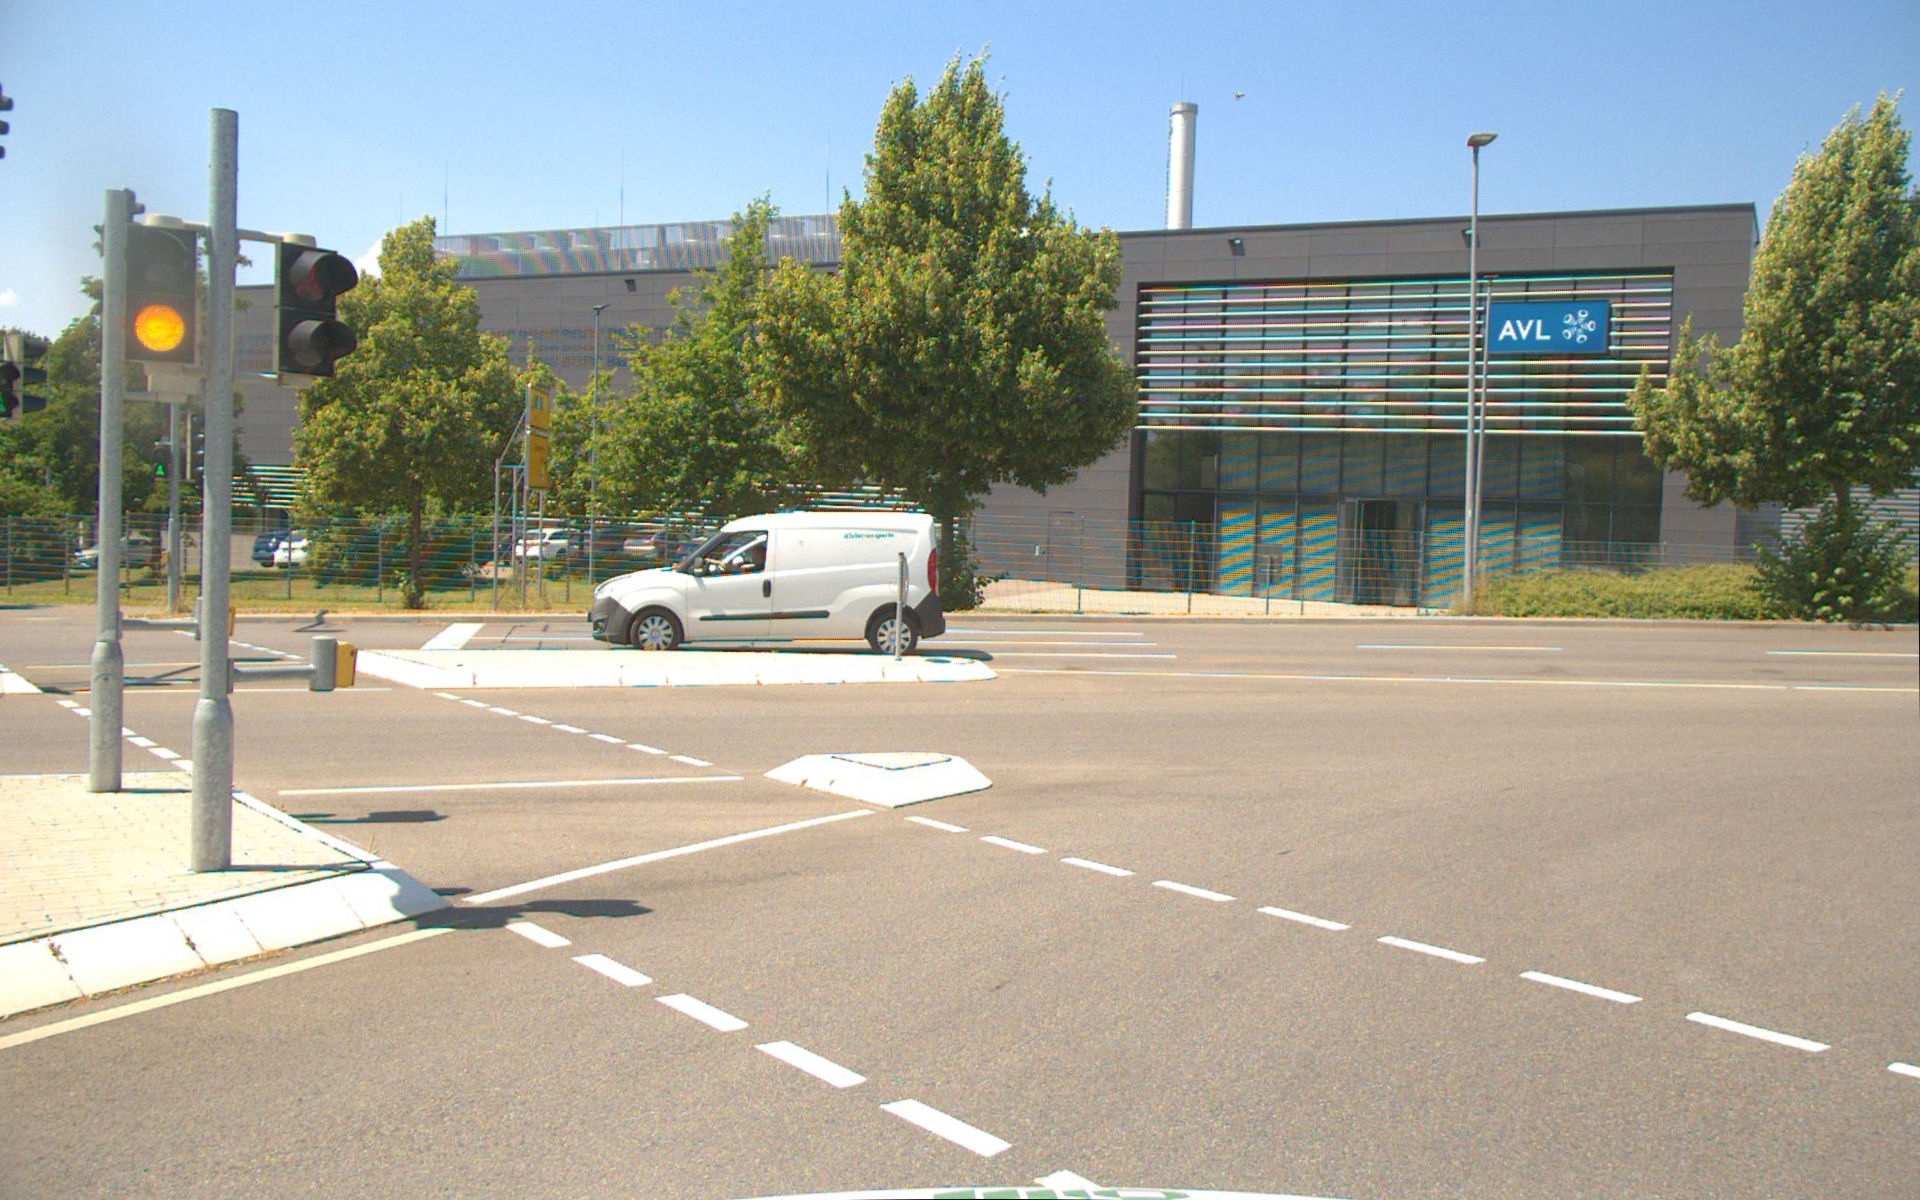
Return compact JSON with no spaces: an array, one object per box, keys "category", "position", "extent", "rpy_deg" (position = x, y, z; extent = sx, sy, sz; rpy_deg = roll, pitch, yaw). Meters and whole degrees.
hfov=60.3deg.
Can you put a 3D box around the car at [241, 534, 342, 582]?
[{"category":"car","position":[-29.919,-1.862,74.143],"extent":[1.953,2.049,3.999],"rpy_deg":[0,1,23]}]

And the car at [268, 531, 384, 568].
[{"category":"car","position":[-21.257,-1.672,55.590],"extent":[1.578,1.185,3.634],"rpy_deg":[0,1,23]}]

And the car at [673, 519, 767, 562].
[{"category":"car","position":[-9.209,-2.265,63.723],"extent":[1.777,1.555,3.999],"rpy_deg":[0,1,23]}]

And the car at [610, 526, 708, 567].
[{"category":"car","position":[-11.767,-2.107,64.942],"extent":[1.875,1.543,4.000],"rpy_deg":[0,2,23]}]

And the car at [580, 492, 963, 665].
[{"category":"car","position":[-2.452,-0.314,21.873],"extent":[4.762,1.975,1.999],"rpy_deg":[1,6,-6]}]

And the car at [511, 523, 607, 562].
[{"category":"car","position":[-16.222,-2.306,67.122],"extent":[1.730,1.485,3.999],"rpy_deg":[0,1,23]}]

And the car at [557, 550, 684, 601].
[{"category":"car","position":[-10.496,-0.768,51.407],"extent":[1.953,1.512,3.999],"rpy_deg":[0,1,23]}]

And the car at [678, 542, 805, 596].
[{"category":"car","position":[-6.368,-0.915,48.581],"extent":[1.953,1.512,3.999],"rpy_deg":[0,1,23]}]

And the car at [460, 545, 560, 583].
[{"category":"car","position":[-18.578,-1.483,68.454],"extent":[1.953,1.512,3.999],"rpy_deg":[0,1,23]}]

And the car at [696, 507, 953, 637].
[{"category":"car","position":[-2.113,-0.458,25.718],"extent":[3.778,1.735,1.999],"rpy_deg":[1,6,-6]}]

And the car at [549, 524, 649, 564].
[{"category":"car","position":[-14.309,-2.195,65.781],"extent":[1.953,1.512,3.999],"rpy_deg":[0,1,23]}]
